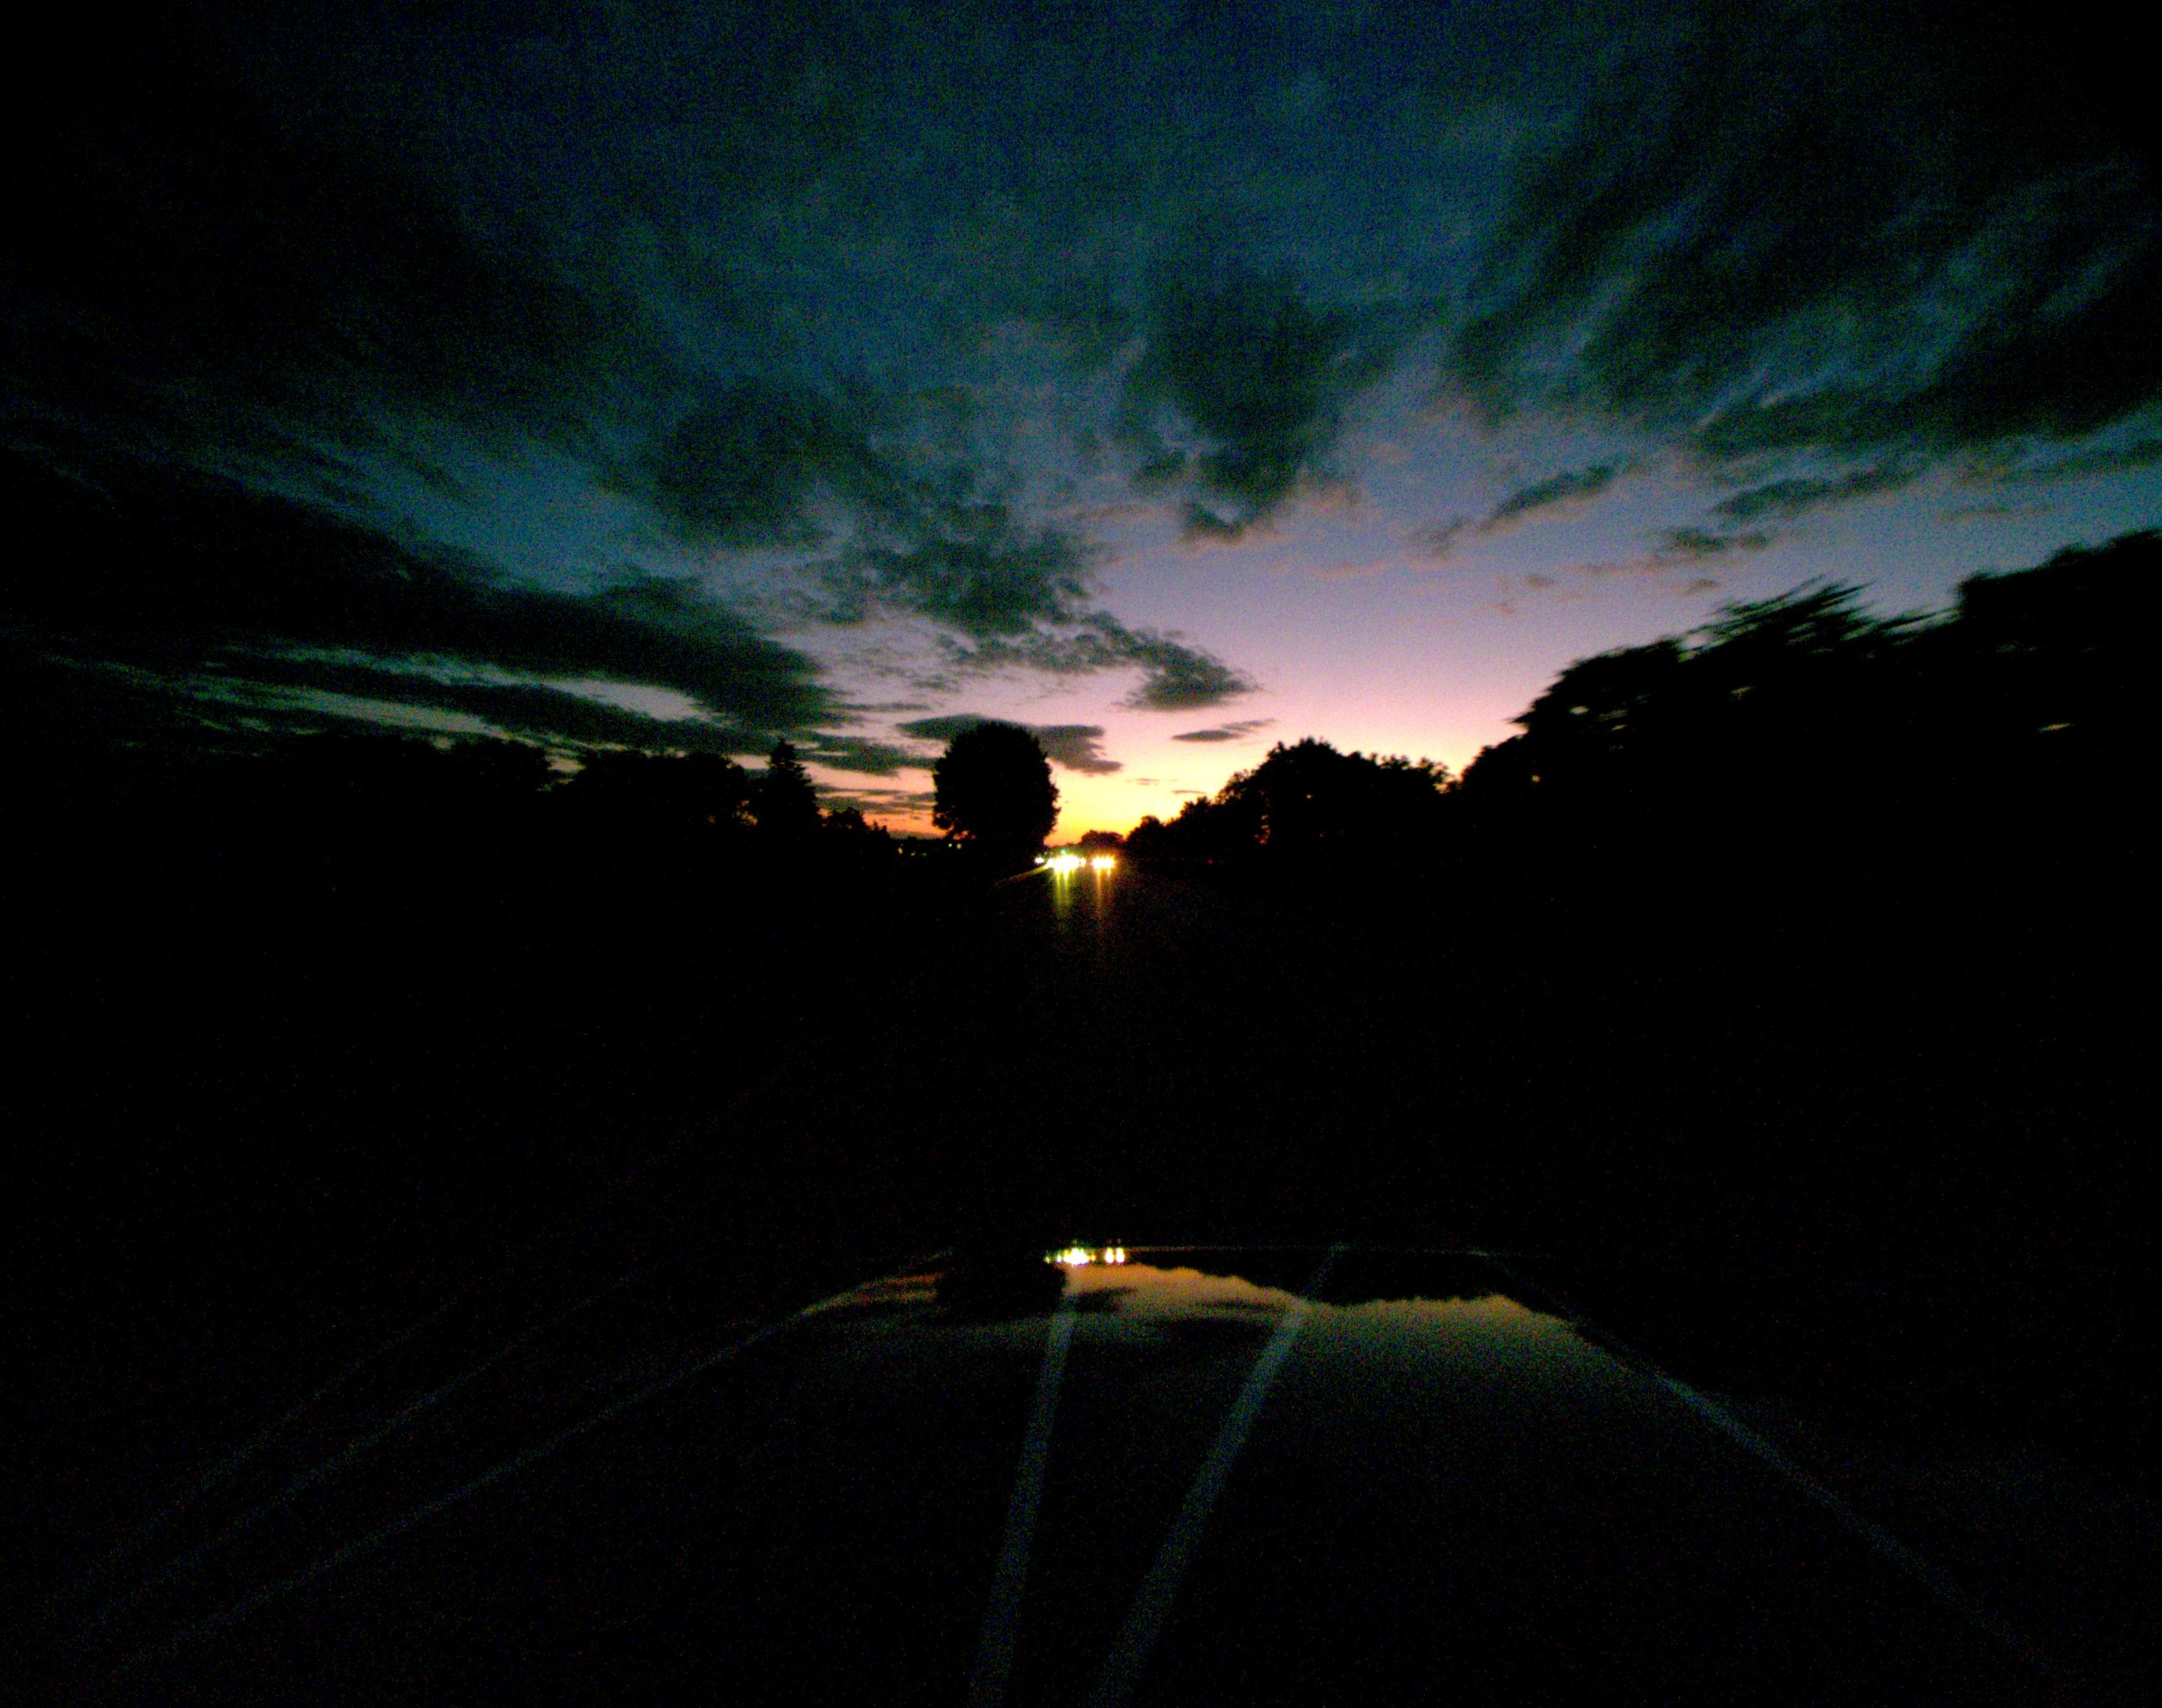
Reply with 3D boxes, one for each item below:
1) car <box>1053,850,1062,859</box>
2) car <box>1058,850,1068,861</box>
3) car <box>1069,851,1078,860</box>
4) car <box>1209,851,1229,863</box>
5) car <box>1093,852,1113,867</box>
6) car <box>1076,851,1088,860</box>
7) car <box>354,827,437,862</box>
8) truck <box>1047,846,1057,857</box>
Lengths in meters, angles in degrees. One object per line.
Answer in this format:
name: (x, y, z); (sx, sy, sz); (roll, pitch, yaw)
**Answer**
car: (-5.874, 0.115, 188.400); (1.999, 2.002, 3.999); (-2, 0, -3)
car: (-3.289, 0.288, 140.238); (1.741, 2.002, 3.999); (-2, 0, -1)
car: (-1.880, 0.392, 186.165); (1.999, 2.002, 3.999); (-2, 0, -1)
car: (16.344, 0.298, 90.054); (1.633, 1.315, 3.940); (-2, 0, 0)
car: (2.445, 0.612, 85.039); (1.999, 1.635, 4.296); (-2, 0, 0)
car: (0.115, 0.252, 149.310); (1.999, 1.778, 3.998); (-2, 0, -4)
car: (-44.371, -0.614, 49.314); (2.001, 2.139, 4.574); (1, 0, -12)
truck: (-9.941, -0.837, 259.435); (3.017, 3.674, 9.056); (-2, 0, -3)
